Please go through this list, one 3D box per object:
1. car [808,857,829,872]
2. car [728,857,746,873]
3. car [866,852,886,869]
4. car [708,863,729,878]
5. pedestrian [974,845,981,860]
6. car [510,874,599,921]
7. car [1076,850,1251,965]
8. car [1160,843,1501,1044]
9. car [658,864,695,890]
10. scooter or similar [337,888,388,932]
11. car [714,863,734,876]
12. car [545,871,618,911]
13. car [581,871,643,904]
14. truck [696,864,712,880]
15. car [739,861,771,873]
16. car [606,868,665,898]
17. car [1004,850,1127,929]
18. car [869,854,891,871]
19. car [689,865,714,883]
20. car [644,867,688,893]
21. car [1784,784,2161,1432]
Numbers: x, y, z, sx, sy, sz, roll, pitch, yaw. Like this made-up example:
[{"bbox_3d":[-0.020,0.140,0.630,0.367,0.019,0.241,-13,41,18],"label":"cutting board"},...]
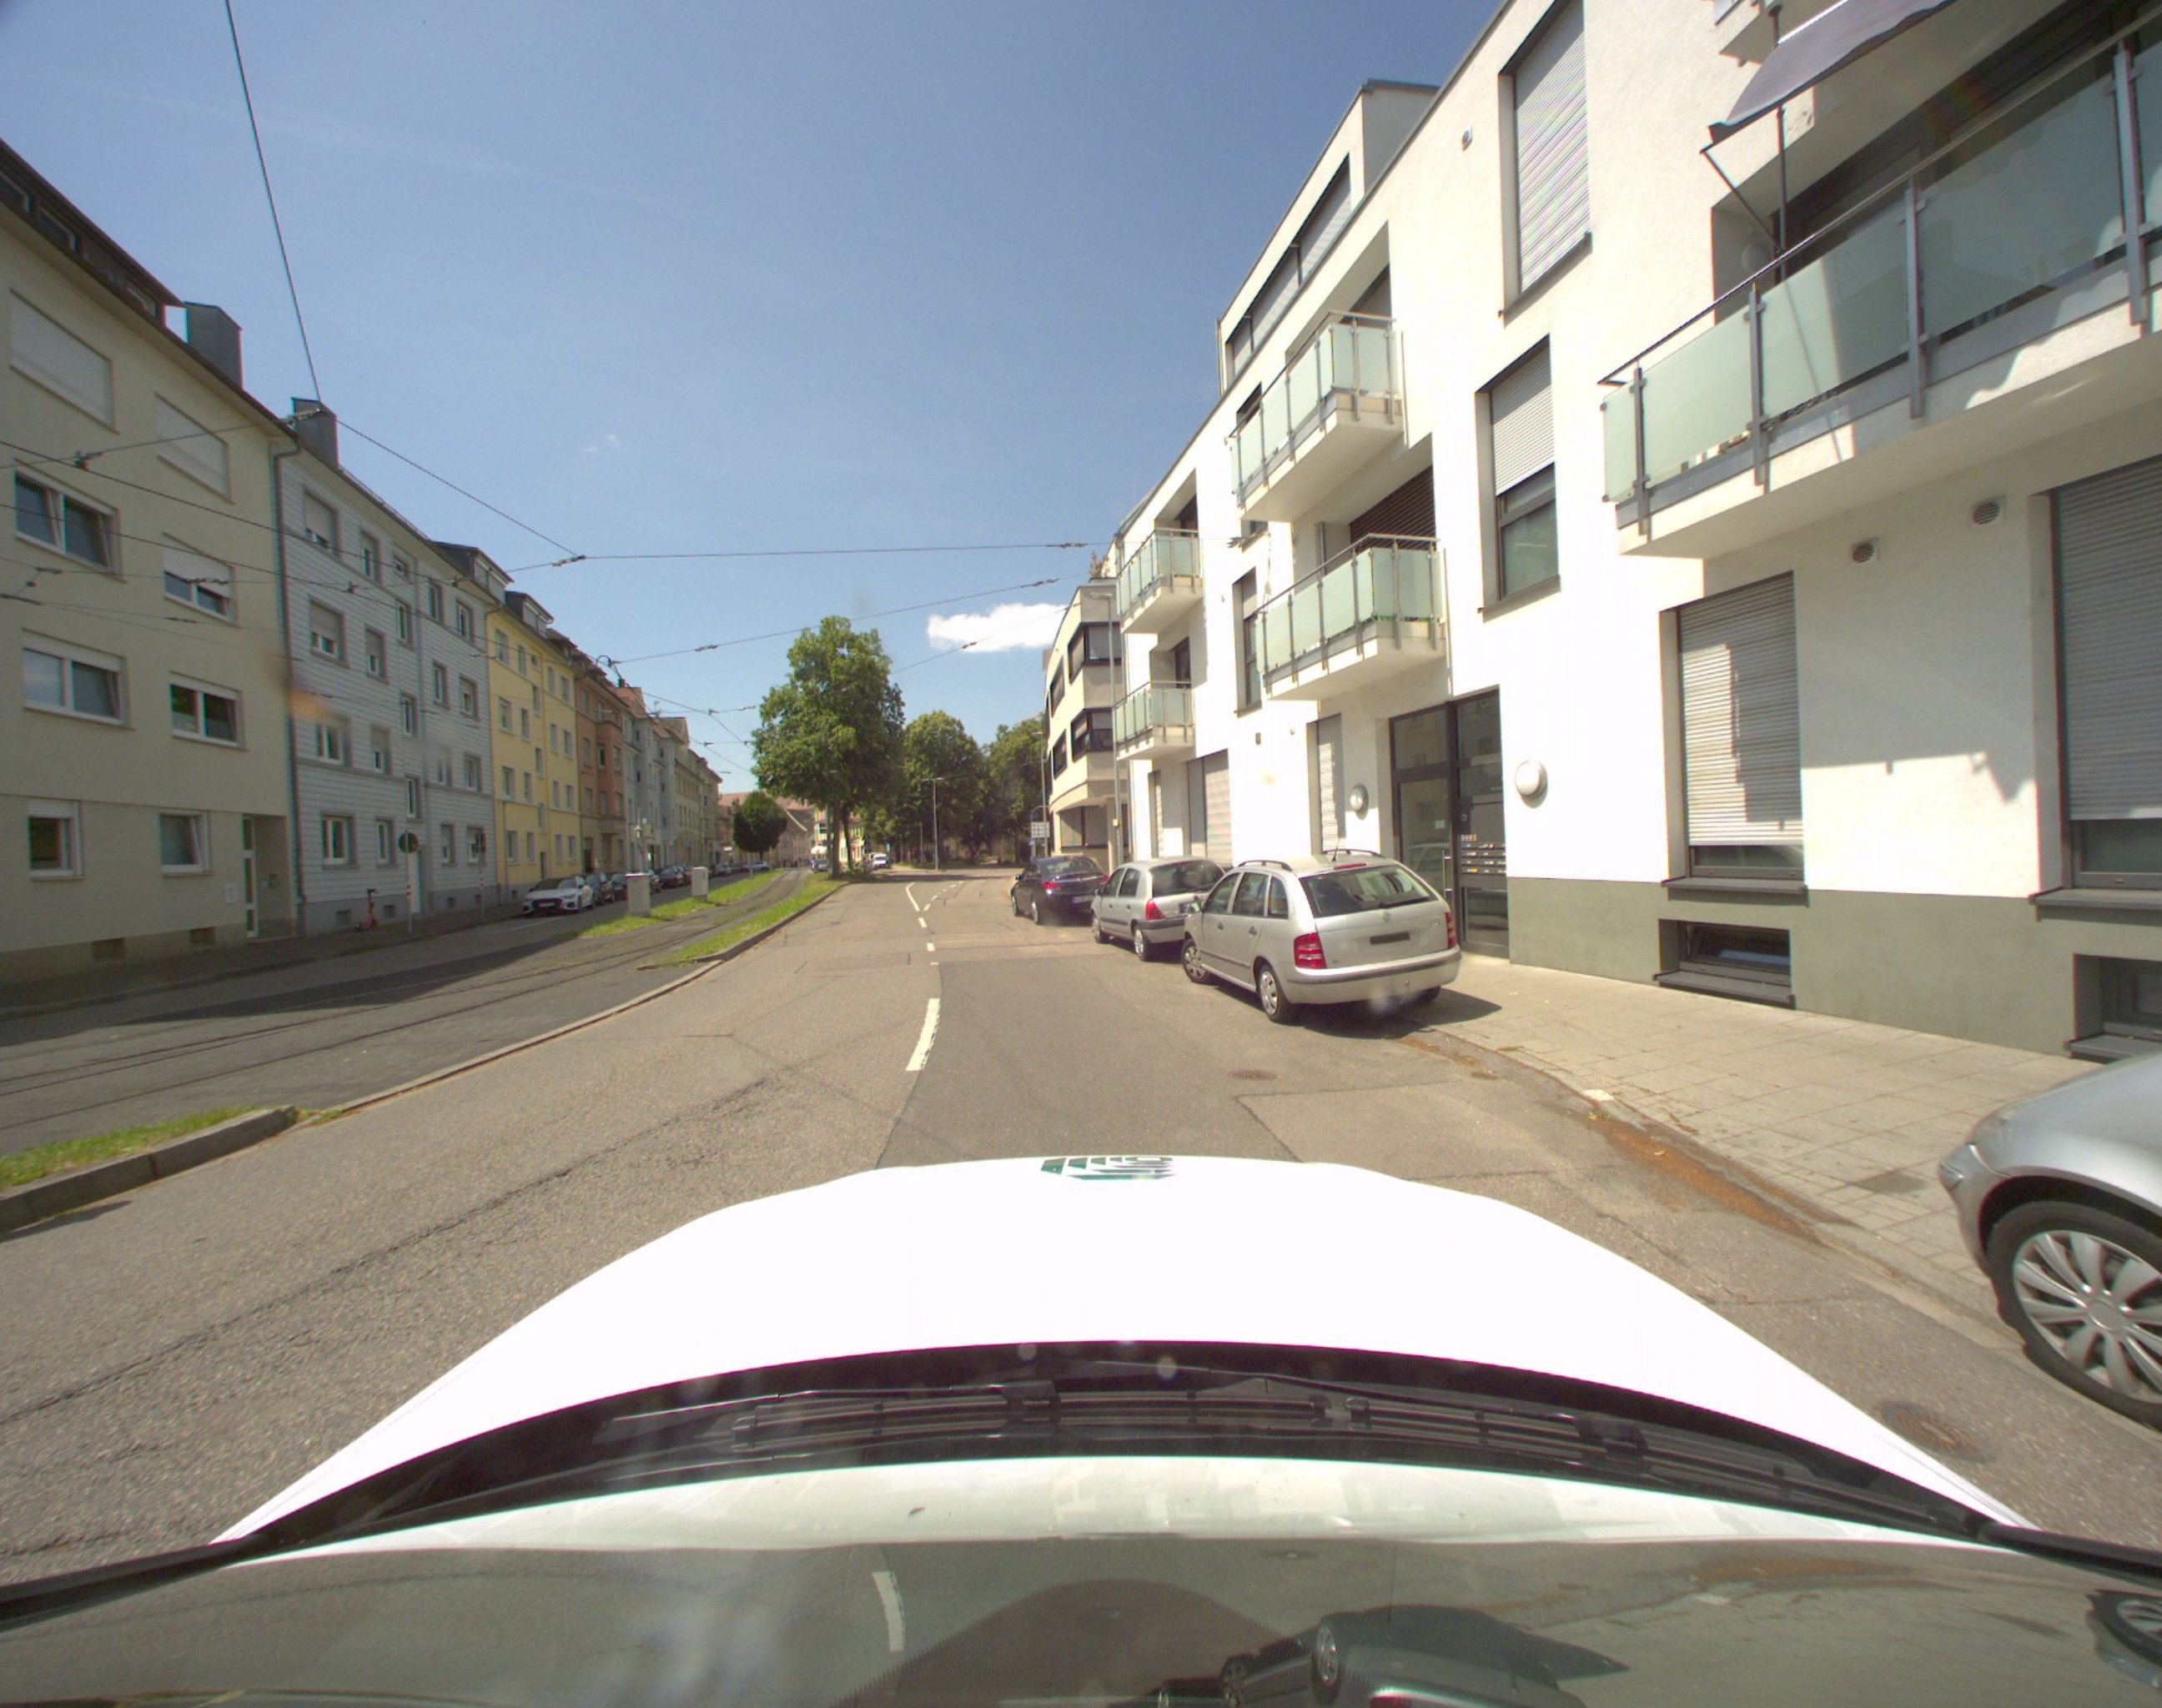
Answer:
[{"bbox_3d":[-28.025,1.146,86.944,1.910,1.534,4.214,-1,0,-21],"label":"car"},{"bbox_3d":[-47.632,1.504,112.833,1.859,1.911,4.741,-4,1,-19],"label":"car"},{"bbox_3d":[-25.440,0.792,100.984,2.054,2.002,5.218,-2,0,-17],"label":"car"},{"bbox_3d":[-39.898,1.804,89.743,1.691,1.360,3.833,-4,1,-19],"label":"car"},{"bbox_3d":[-13.783,-0.208,108.247,0.746,1.910,0.683,-2,2,-4],"label":"pedestrian"},{"bbox_3d":[-20.351,1.614,31.687,1.935,1.451,4.346,-5,1,-21],"label":"car"},{"bbox_3d":[1.175,0.765,13.257,1.595,1.433,3.689,-6,1,-13],"label":"car"},{"bbox_3d":[2.249,0.717,8.598,1.727,1.433,4.029,-6,1,-9],"label":"car"},{"bbox_3d":[-30.389,1.701,61.231,1.842,1.685,4.116,-4,1,-19],"label":"car"},{"bbox_3d":[-21.251,1.634,24.105,0.640,1.223,1.312,-1,-1,-18],"label":"scooter or similar"},{"bbox_3d":[-41.617,1.778,95.009,1.691,1.390,3.833,-4,1,-19],"label":"car"},{"bbox_3d":[-22.405,1.598,36.691,1.935,1.505,4.296,-4,1,-21],"label":"car"},{"bbox_3d":[-23.716,1.670,41.334,1.836,1.400,4.116,-3,1,-18],"label":"car"},{"bbox_3d":[-36.732,1.738,79.355,1.130,1.494,2.577,-4,1,-20],"label":"truck"},{"bbox_3d":[-47.563,1.865,118.786,4.221,1.504,1.989,-4,1,-23],"label":"car"},{"bbox_3d":[-25.377,1.602,46.541,1.933,1.397,4.834,-4,1,-17],"label":"car"},{"bbox_3d":[-0.517,0.781,19.684,1.803,1.509,4.524,-6,1,-15],"label":"car"},{"bbox_3d":[-22.967,0.897,92.822,2.000,1.826,4.394,-2,0,-19],"label":"car"},{"bbox_3d":[-35.090,1.838,75.378,1.576,1.451,3.603,-4,1,-19],"label":"car"},{"bbox_3d":[-28.559,1.756,56.200,1.933,1.490,4.832,-4,1,-19],"label":"car"},{"bbox_3d":[3.630,0.574,1.126,1.725,1.610,3.791,-5,0,-6],"label":"car"}]
